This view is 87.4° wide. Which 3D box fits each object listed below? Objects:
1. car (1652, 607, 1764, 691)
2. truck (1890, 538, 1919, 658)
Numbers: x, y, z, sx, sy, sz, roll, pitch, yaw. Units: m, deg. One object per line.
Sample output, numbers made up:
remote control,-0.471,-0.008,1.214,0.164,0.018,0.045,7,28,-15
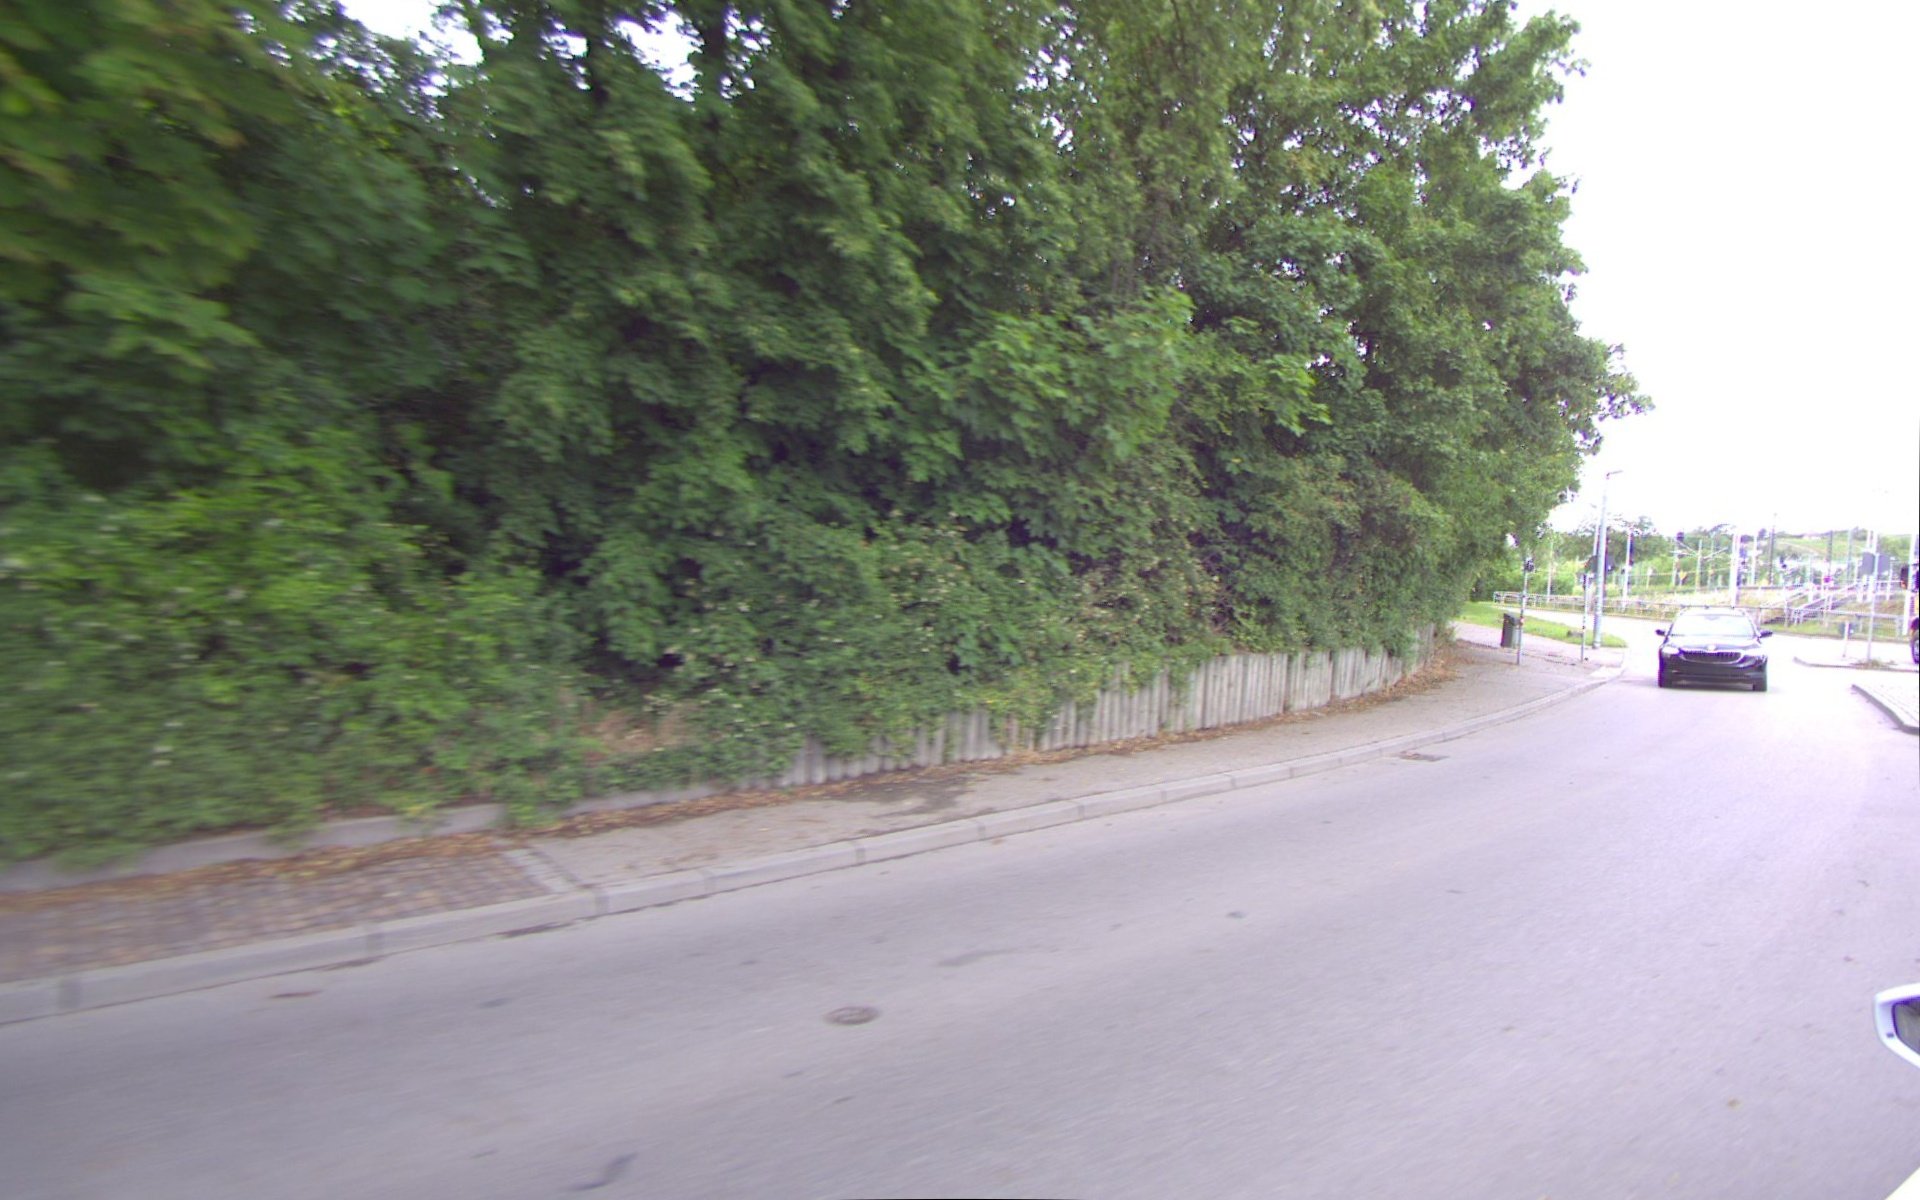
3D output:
car,16.134,0.972,21.603,1.780,1.631,4.158,0,-1,38
truck,28.851,0.026,27.871,2.725,3.531,8.108,3,3,31
